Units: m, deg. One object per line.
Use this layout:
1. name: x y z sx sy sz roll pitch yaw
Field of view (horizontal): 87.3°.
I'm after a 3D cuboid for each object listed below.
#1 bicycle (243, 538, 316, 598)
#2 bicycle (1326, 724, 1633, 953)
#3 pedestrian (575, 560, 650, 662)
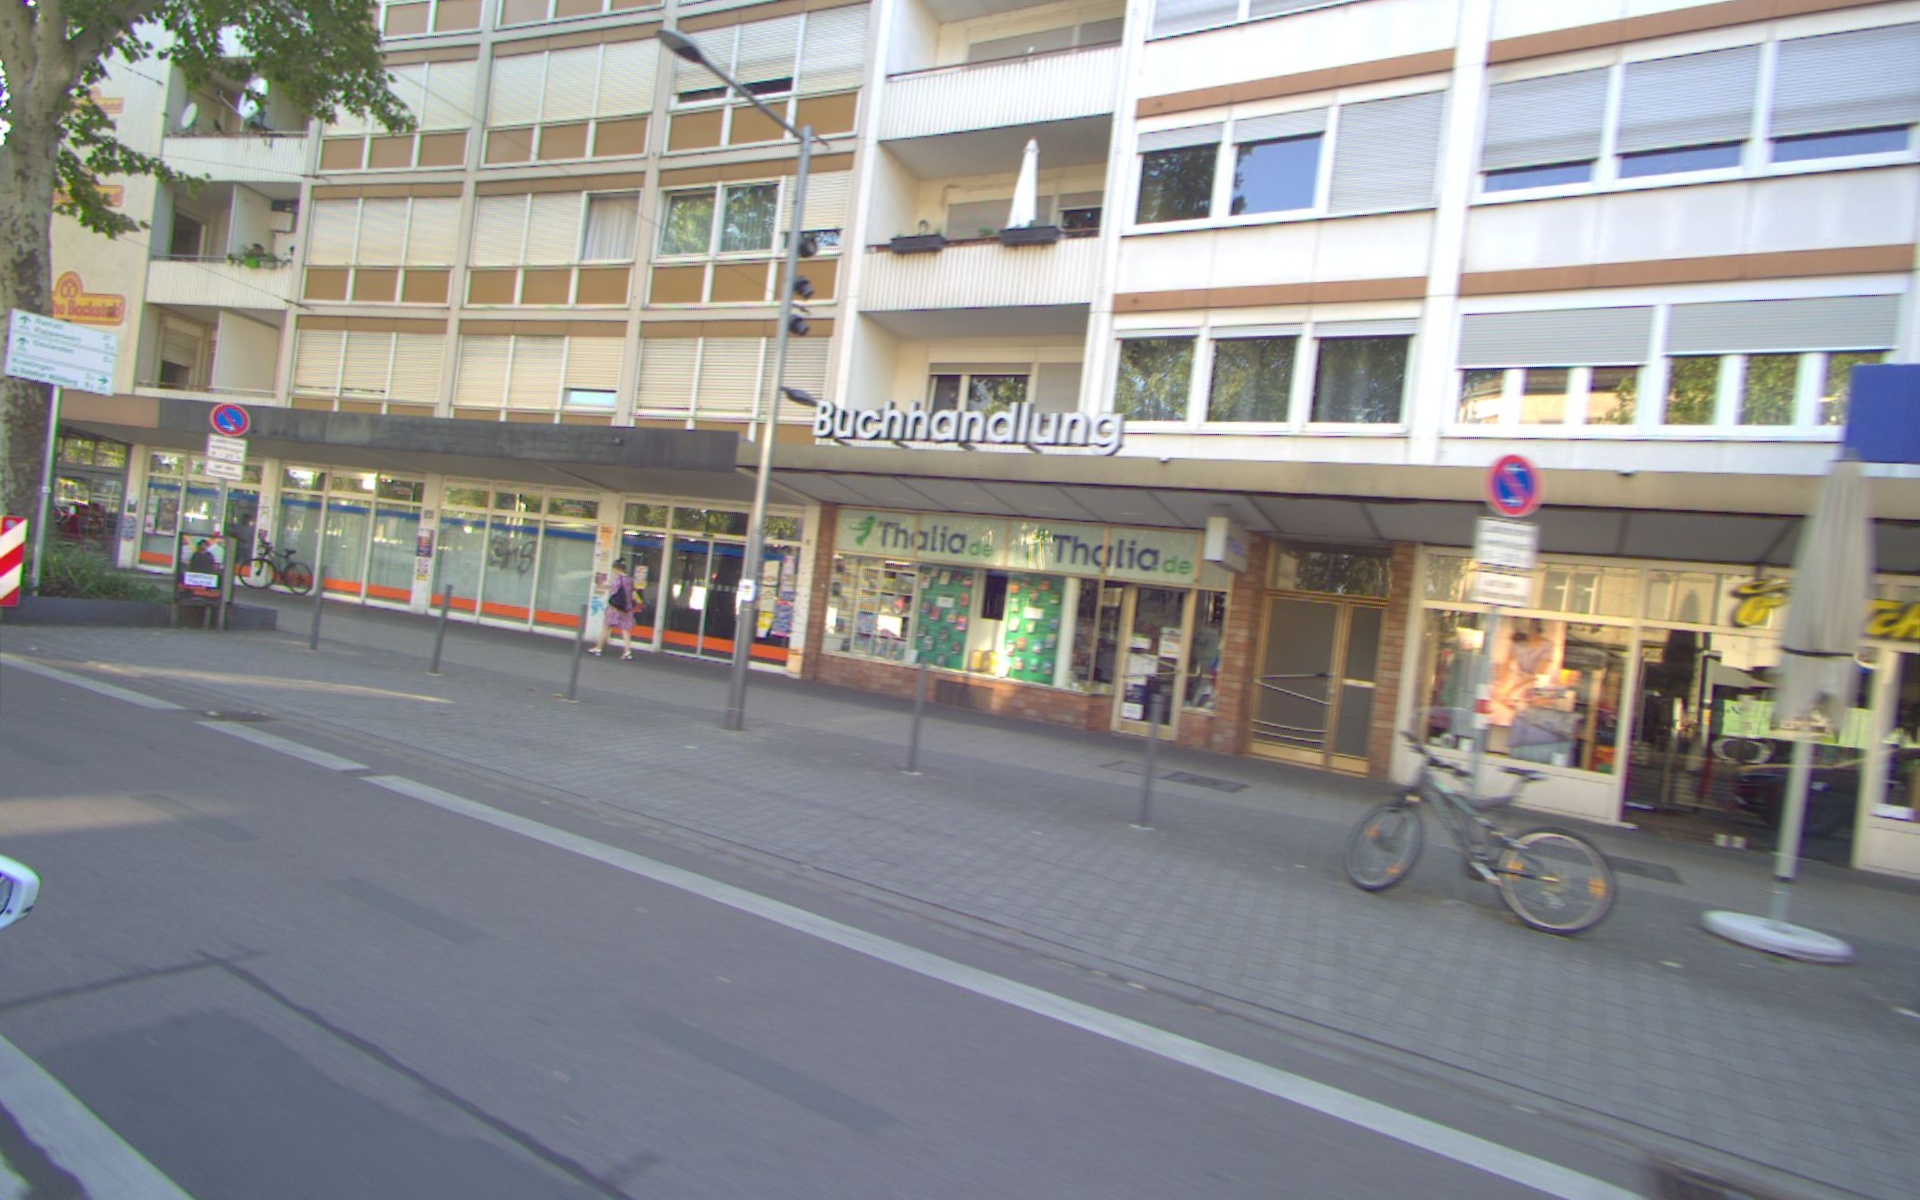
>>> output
1. bicycle: -14.605 -0.688 21.589 1.434 1.107 0.438 7 2 18
2. bicycle: 3.366 1.504 6.636 1.633 1.084 0.512 7 2 28
3. pedestrian: -5.672 0.186 16.423 0.793 1.571 0.641 7 1 24
